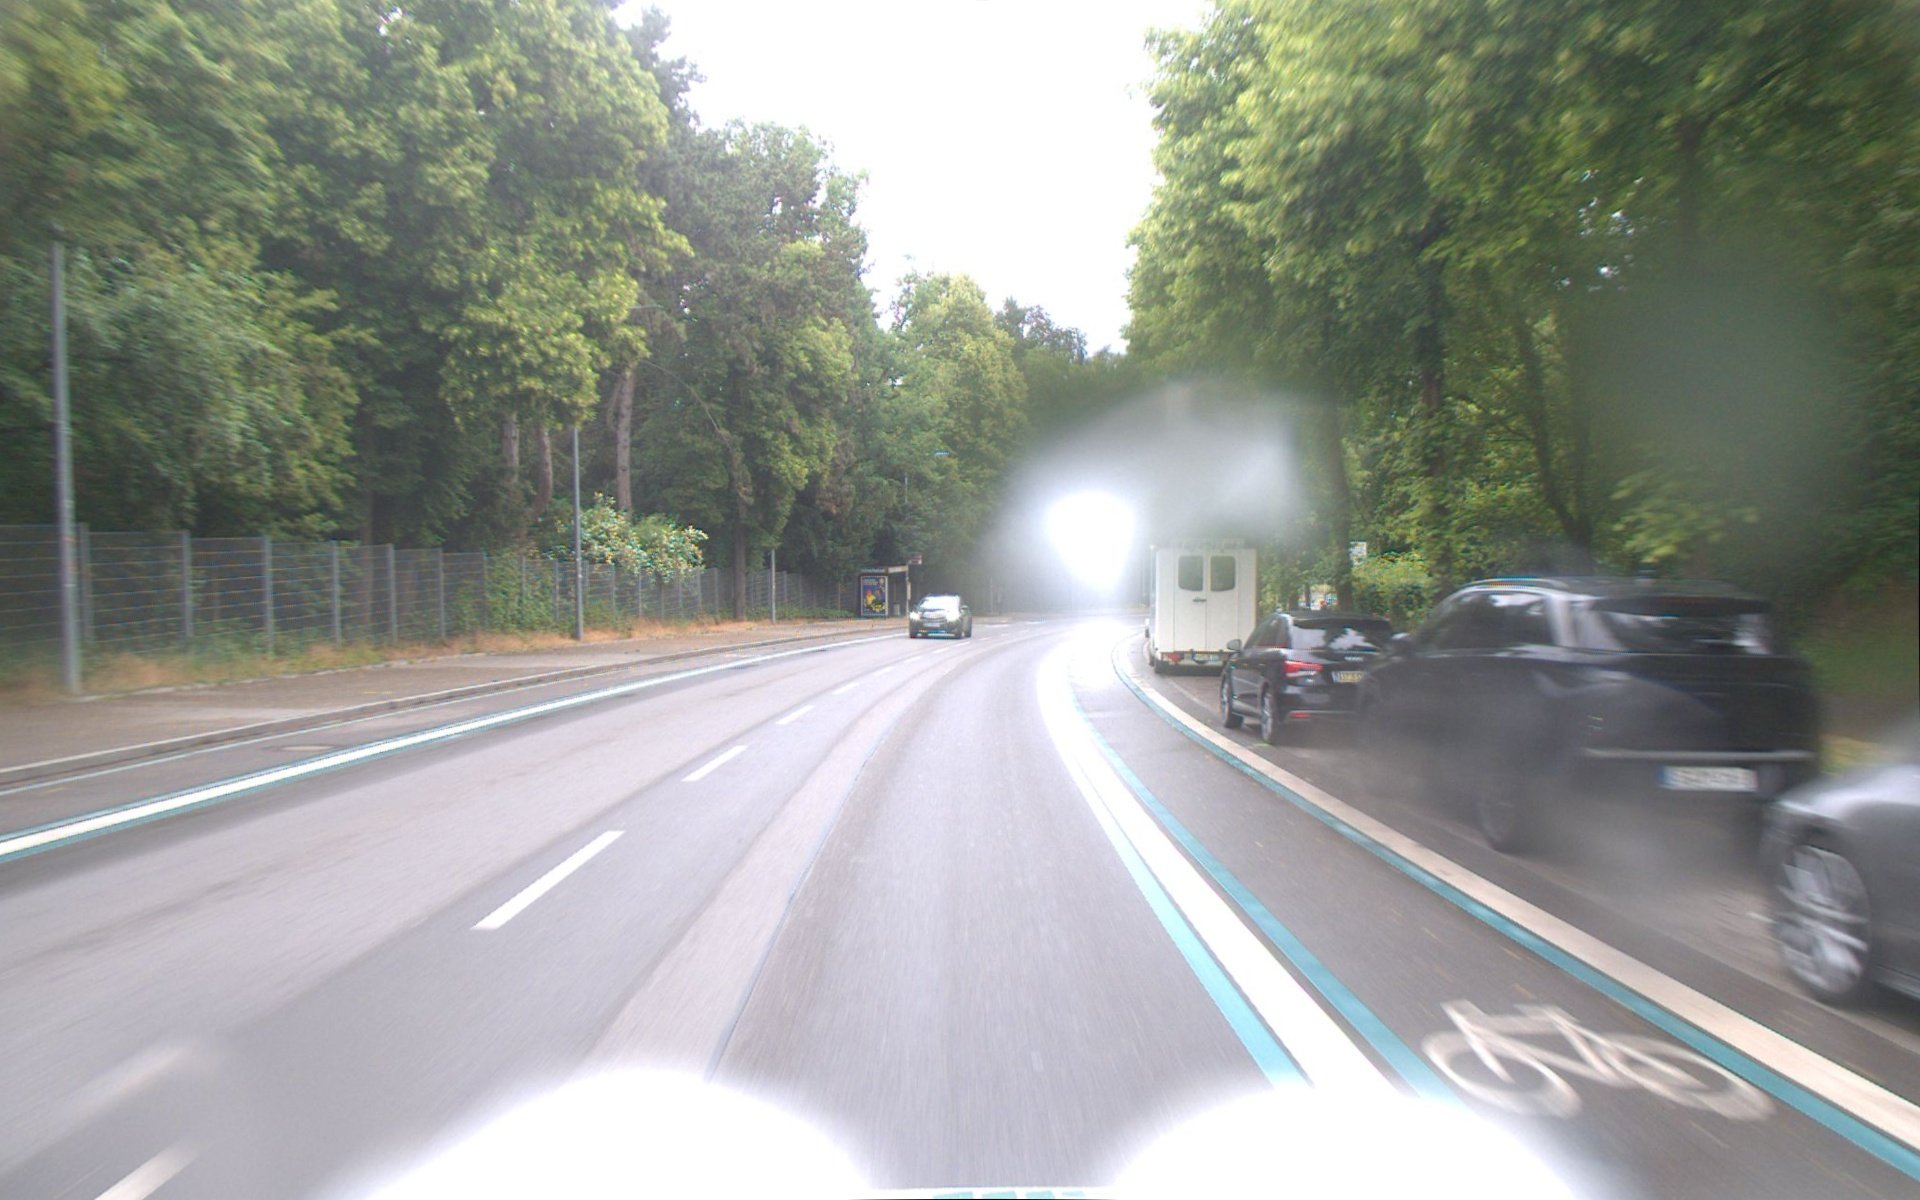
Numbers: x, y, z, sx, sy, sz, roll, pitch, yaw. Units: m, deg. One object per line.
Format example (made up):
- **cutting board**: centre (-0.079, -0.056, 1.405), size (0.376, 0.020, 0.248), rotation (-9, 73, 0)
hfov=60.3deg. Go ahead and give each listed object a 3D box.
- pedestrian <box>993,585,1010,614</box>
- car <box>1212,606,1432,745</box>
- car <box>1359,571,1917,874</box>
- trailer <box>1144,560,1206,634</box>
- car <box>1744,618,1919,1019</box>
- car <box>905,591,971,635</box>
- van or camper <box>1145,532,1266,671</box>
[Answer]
- **pedestrian**: centre (2.515, -0.025, 100.982), size (0.868, 1.763, 1.147), rotation (1, 0, 9)
- **car**: centre (3.963, 0.779, 18.729), size (1.644, 1.400, 4.000), rotation (0, -1, 0)
- **car**: centre (4.293, 0.706, 11.352), size (1.953, 1.674, 4.346), rotation (0, -1, -2)
- **trailer**: centre (8.463, -0.133, 64.648), size (2.267, 2.718, 5.381), rotation (1, 0, 8)
- **car**: centre (4.187, 0.768, 4.785), size (1.738, 1.372, 4.466), rotation (1, 0, 0)
- **car**: centre (-0.726, 0.419, 57.429), size (1.722, 1.462, 4.154), rotation (0, 0, 7)
- **van or camper**: centre (5.187, 0.004, 35.765), size (2.268, 2.711, 6.386), rotation (1, 0, 6)
